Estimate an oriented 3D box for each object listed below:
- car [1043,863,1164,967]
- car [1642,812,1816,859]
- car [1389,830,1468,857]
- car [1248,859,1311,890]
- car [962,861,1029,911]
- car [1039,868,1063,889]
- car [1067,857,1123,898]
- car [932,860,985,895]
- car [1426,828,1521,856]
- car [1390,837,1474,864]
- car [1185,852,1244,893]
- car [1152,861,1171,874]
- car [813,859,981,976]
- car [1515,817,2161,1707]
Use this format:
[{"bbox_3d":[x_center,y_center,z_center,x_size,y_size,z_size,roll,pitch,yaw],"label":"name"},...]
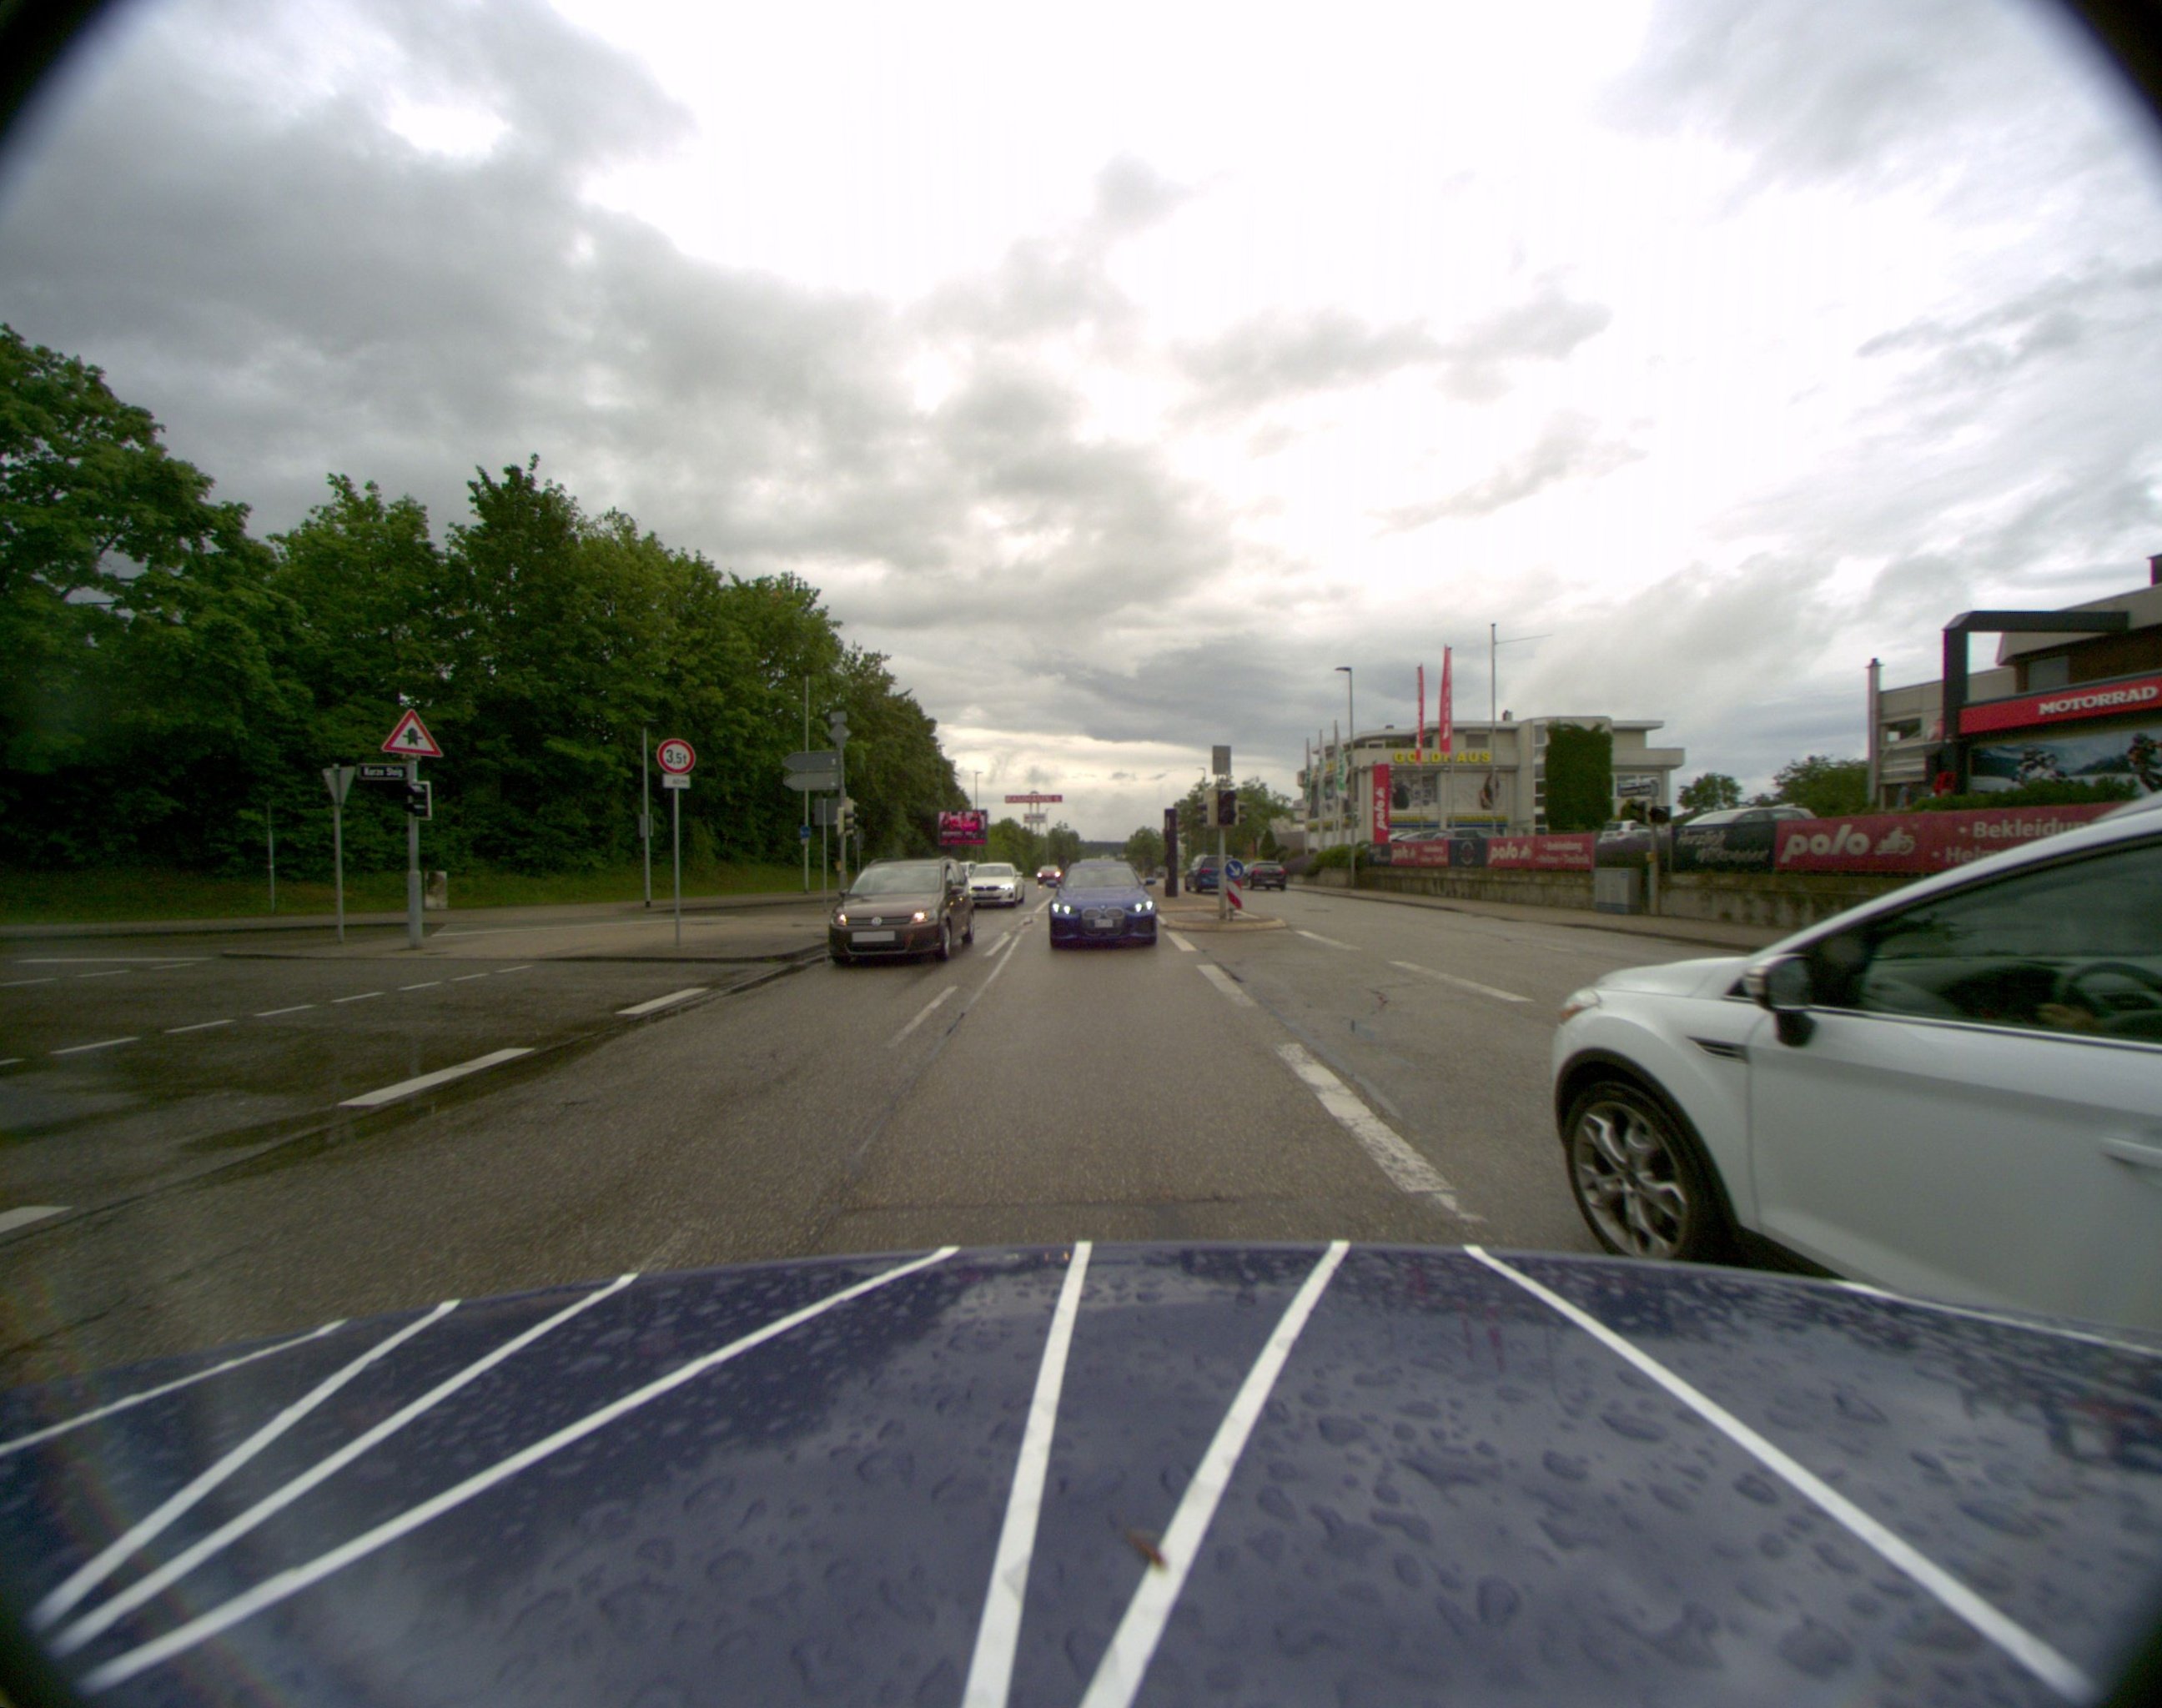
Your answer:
[{"bbox_3d":[0.310,0.942,13.714,1.784,1.448,4.597,-2,0,-1],"label":"car"},{"bbox_3d":[17.020,-0.475,20.044,3.395,1.160,1.454,0,0,-2],"label":"car"},{"bbox_3d":[17.818,-0.543,39.081,3.394,1.329,1.454,0,0,2],"label":"car"},{"bbox_3d":[9.192,0.914,35.524,1.922,1.371,4.125,1,0,1],"label":"car"},{"bbox_3d":[-2.852,1.023,26.136,1.784,1.448,4.679,-2,0,-1],"label":"car"},{"bbox_3d":[-2.186,1.794,56.504,1.634,1.448,3.538,-2,0,-1],"label":"car"},{"bbox_3d":[0.616,0.892,30.149,1.998,1.455,4.369,-2,-1,2],"label":"car"},{"bbox_3d":[-6.394,1.194,40.009,1.998,1.717,4.317,-1,0,1],"label":"car"},{"bbox_3d":[17.147,-0.508,33.289,3.395,1.160,1.454,0,0,-2],"label":"car"},{"bbox_3d":[16.803,-0.157,36.448,3.395,1.270,1.454,0,0,-2],"label":"car"},{"bbox_3d":[5.690,0.768,32.837,1.844,1.640,4.297,1,0,1],"label":"car"},{"bbox_3d":[11.716,2.002,110.443,2.350,1.879,4.546,0,-2,1],"label":"car"},{"bbox_3d":[-2.873,0.915,12.793,1.751,1.599,3.980,-2,0,1],"label":"car"},{"bbox_3d":[2.765,0.746,1.067,1.844,1.640,4.297,-1,0,0],"label":"car"}]
